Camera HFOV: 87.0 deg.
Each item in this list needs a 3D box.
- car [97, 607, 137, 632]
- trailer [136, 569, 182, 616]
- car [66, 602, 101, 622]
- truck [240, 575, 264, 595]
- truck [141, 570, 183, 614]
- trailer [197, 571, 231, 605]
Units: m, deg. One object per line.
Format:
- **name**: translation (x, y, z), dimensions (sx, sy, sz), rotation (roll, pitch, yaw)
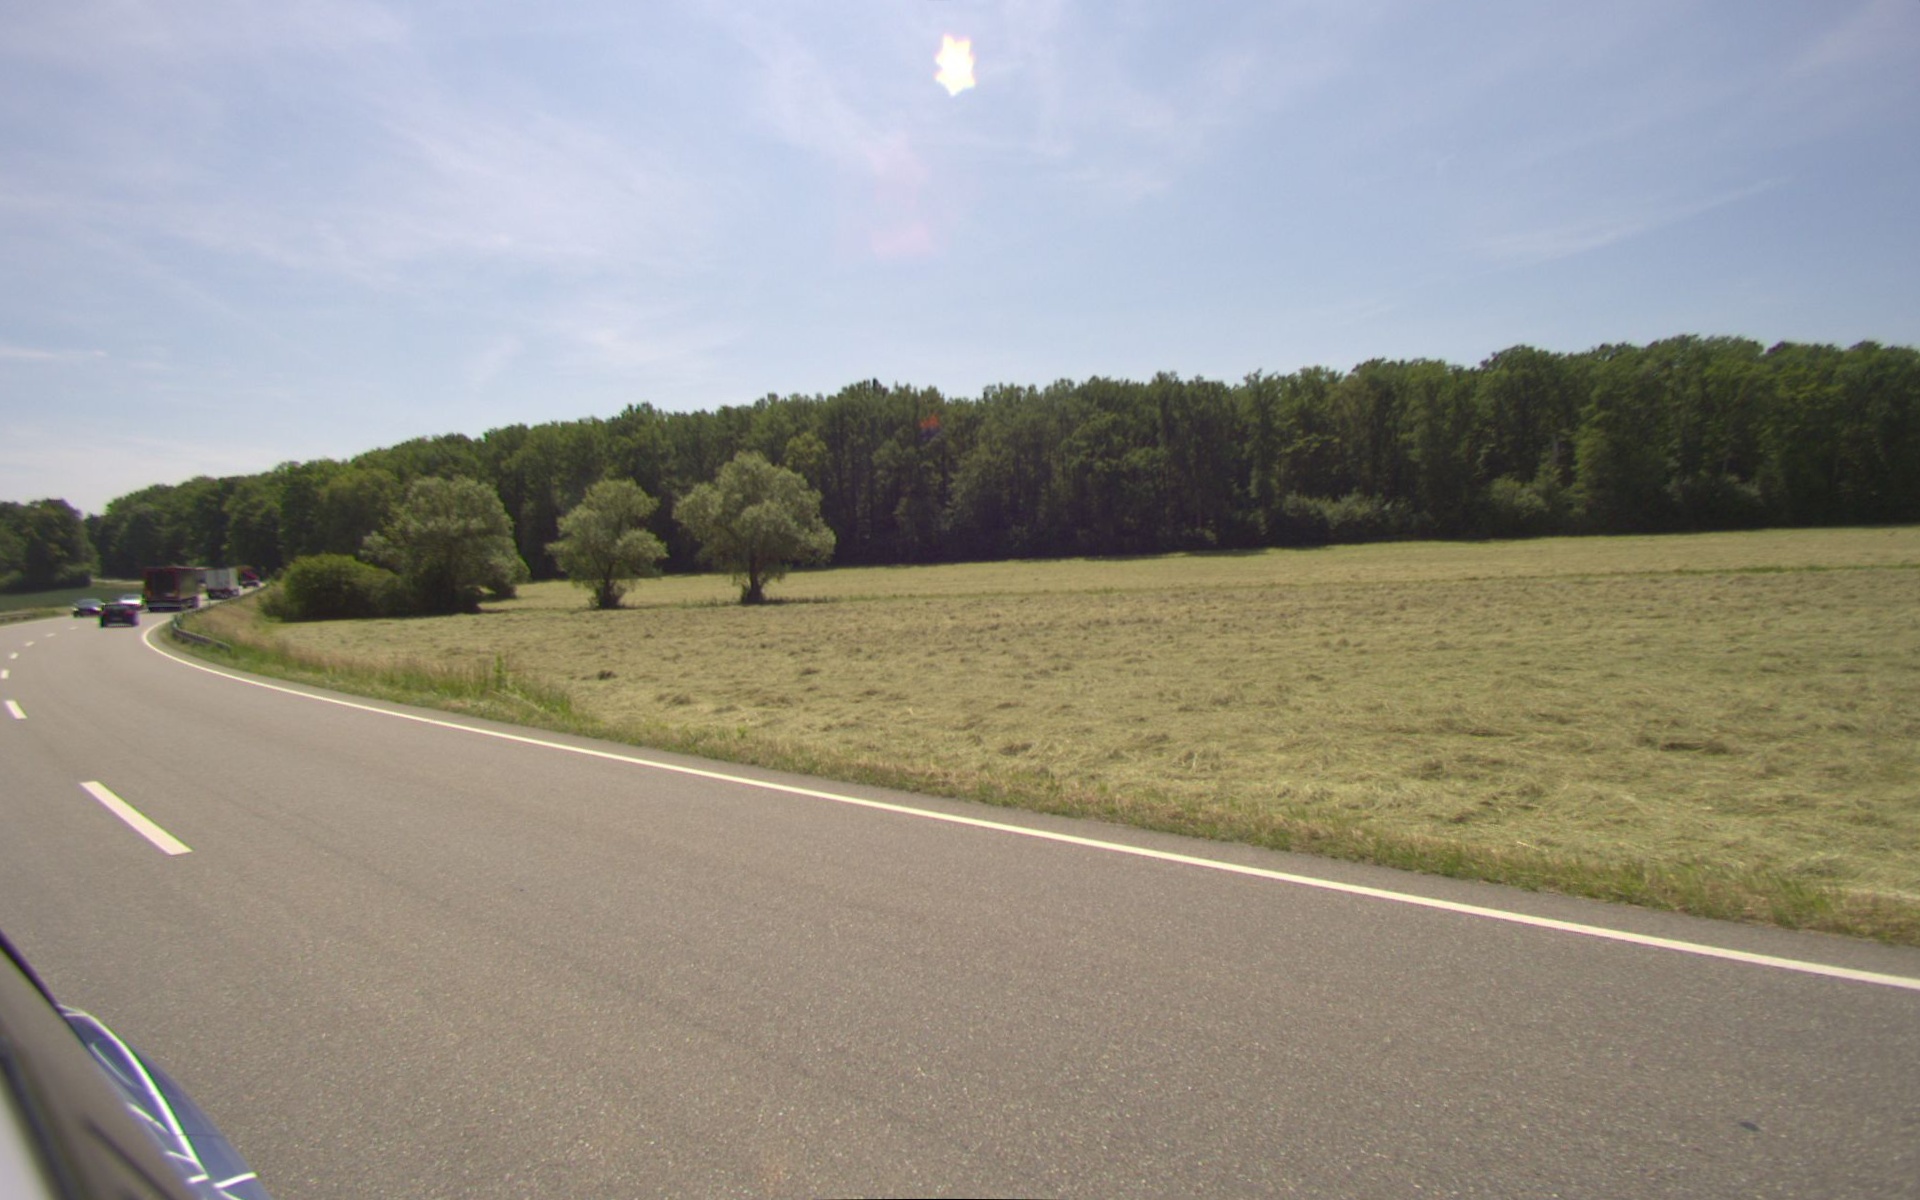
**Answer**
- **car**: translation (-52.951, 1.218, 63.646), dimensions (1.677, 1.480, 4.210), rotation (0, 0, -36)
- **trailer**: translation (-76.447, -0.703, 96.770), dimensions (3.199, 4.181, 14.475), rotation (0, 0, -37)
- **car**: translation (-70.581, 0.955, 81.513), dimensions (1.595, 1.447, 3.453), rotation (-2, 2, -33)
- **truck**: translation (-135.037, -2.890, 193.120), dimensions (2.666, 3.677, 10.132), rotation (-2, 2, -30)
- **truck**: translation (-80.950, -0.761, 102.795), dimensions (3.199, 4.181, 6.665), rotation (0, -1, -37)
- **trailer**: translation (-100.963, -1.614, 137.162), dimensions (3.328, 4.434, 13.781), rotation (-1, 1, -35)
